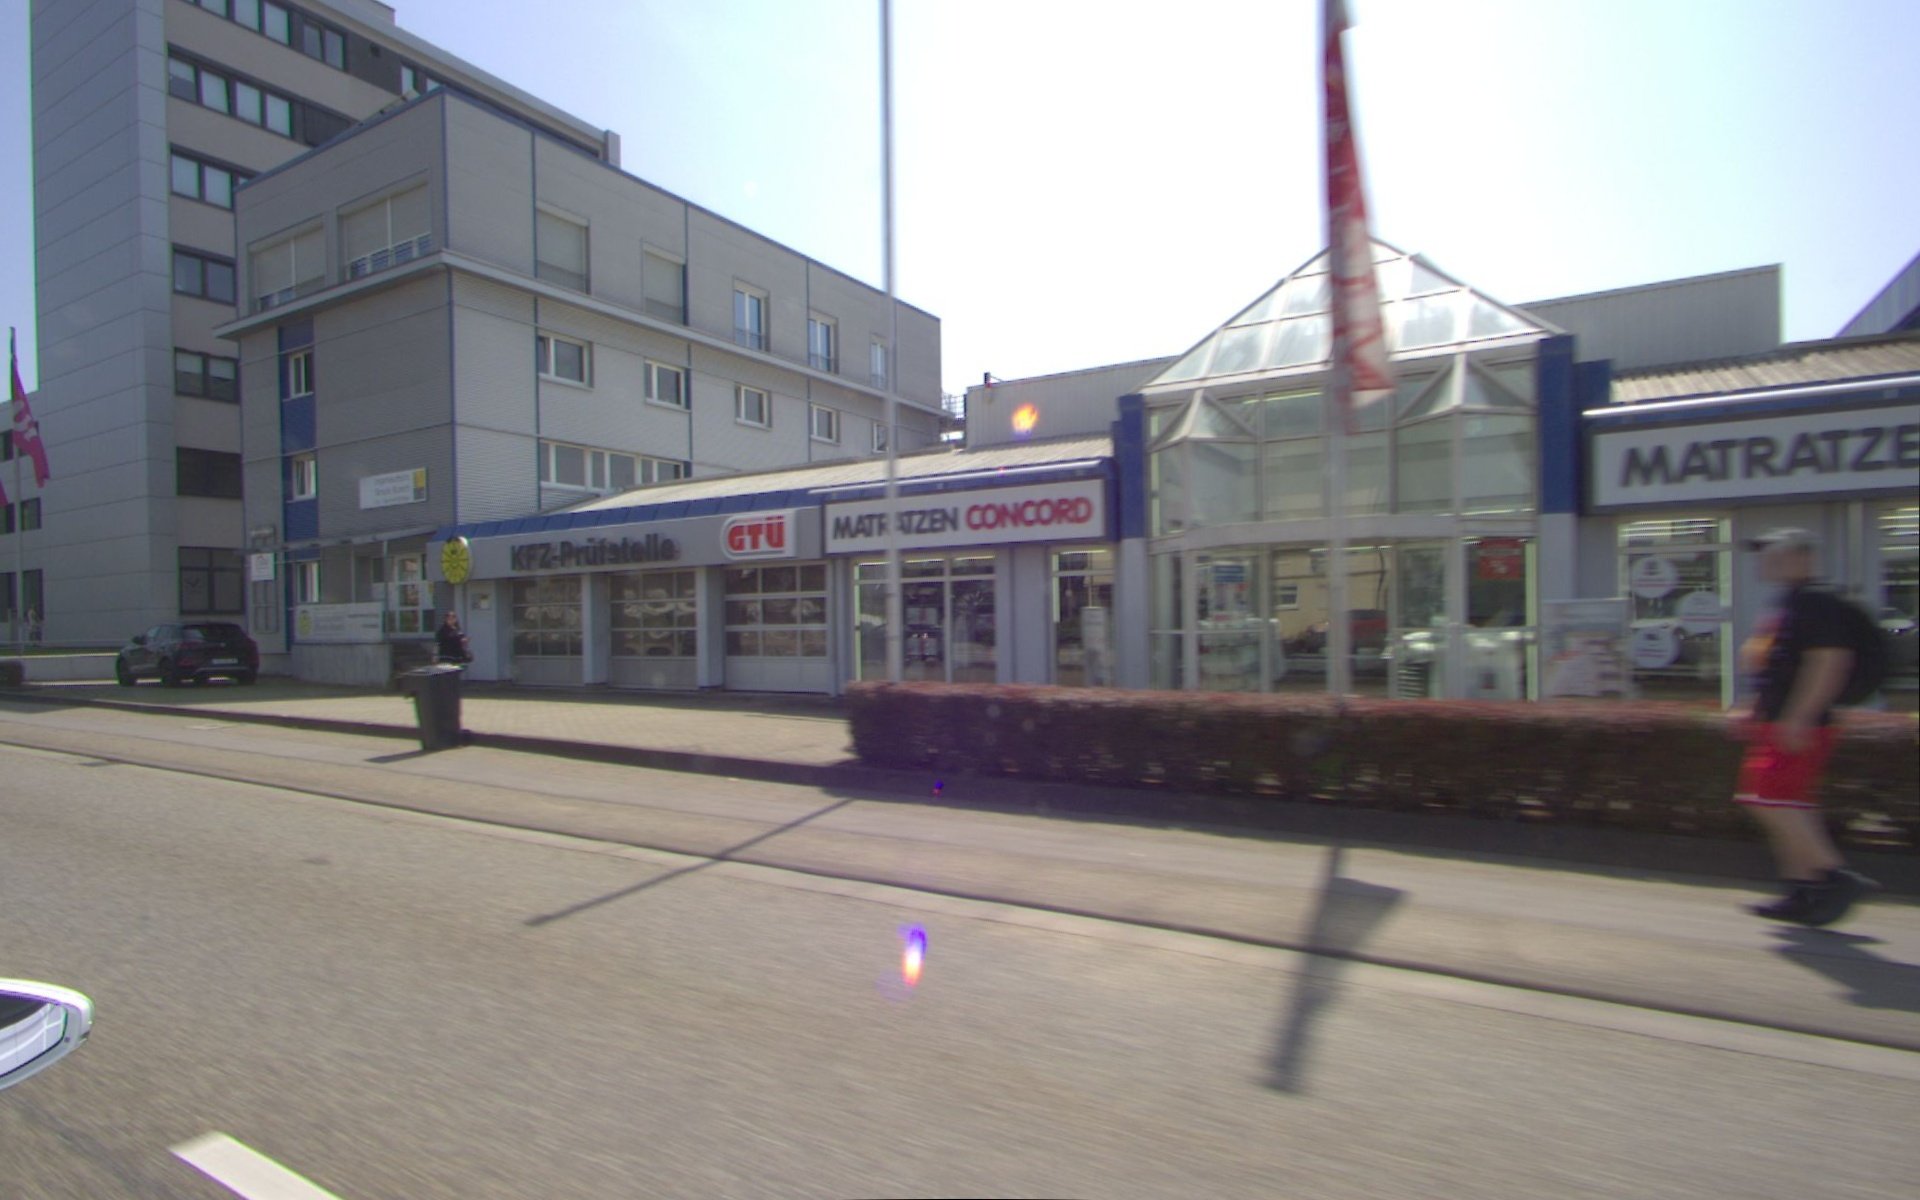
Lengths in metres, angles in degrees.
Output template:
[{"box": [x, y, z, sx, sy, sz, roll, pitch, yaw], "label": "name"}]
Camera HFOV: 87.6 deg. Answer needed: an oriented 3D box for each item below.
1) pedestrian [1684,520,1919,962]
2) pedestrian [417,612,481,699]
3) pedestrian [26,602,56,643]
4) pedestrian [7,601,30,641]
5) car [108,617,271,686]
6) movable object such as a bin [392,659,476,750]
[{"box": [4.016, 0.601, 4.729, 0.923, 1.871, 0.783, 0, 1, 34], "label": "pedestrian"}, {"box": [-10.063, 1.070, 19.732, 0.841, 1.648, 0.807, -1, 1, 35], "label": "pedestrian"}, {"box": [-37.554, 0.914, 40.919, 0.743, 1.685, 0.522, -1, 1, 14], "label": "pedestrian"}, {"box": [-39.081, 0.878, 41.563, 0.517, 1.656, 0.590, 0, 1, 40], "label": "pedestrian"}, {"box": [-18.891, 1.222, 24.517, 4.136, 1.551, 1.841, -1, -2, 32], "label": "car"}, {"box": [-5.936, 1.157, 11.303, 0.643, 0.932, 0.549, -1, 3, 32], "label": "movable object such as a bin"}]
